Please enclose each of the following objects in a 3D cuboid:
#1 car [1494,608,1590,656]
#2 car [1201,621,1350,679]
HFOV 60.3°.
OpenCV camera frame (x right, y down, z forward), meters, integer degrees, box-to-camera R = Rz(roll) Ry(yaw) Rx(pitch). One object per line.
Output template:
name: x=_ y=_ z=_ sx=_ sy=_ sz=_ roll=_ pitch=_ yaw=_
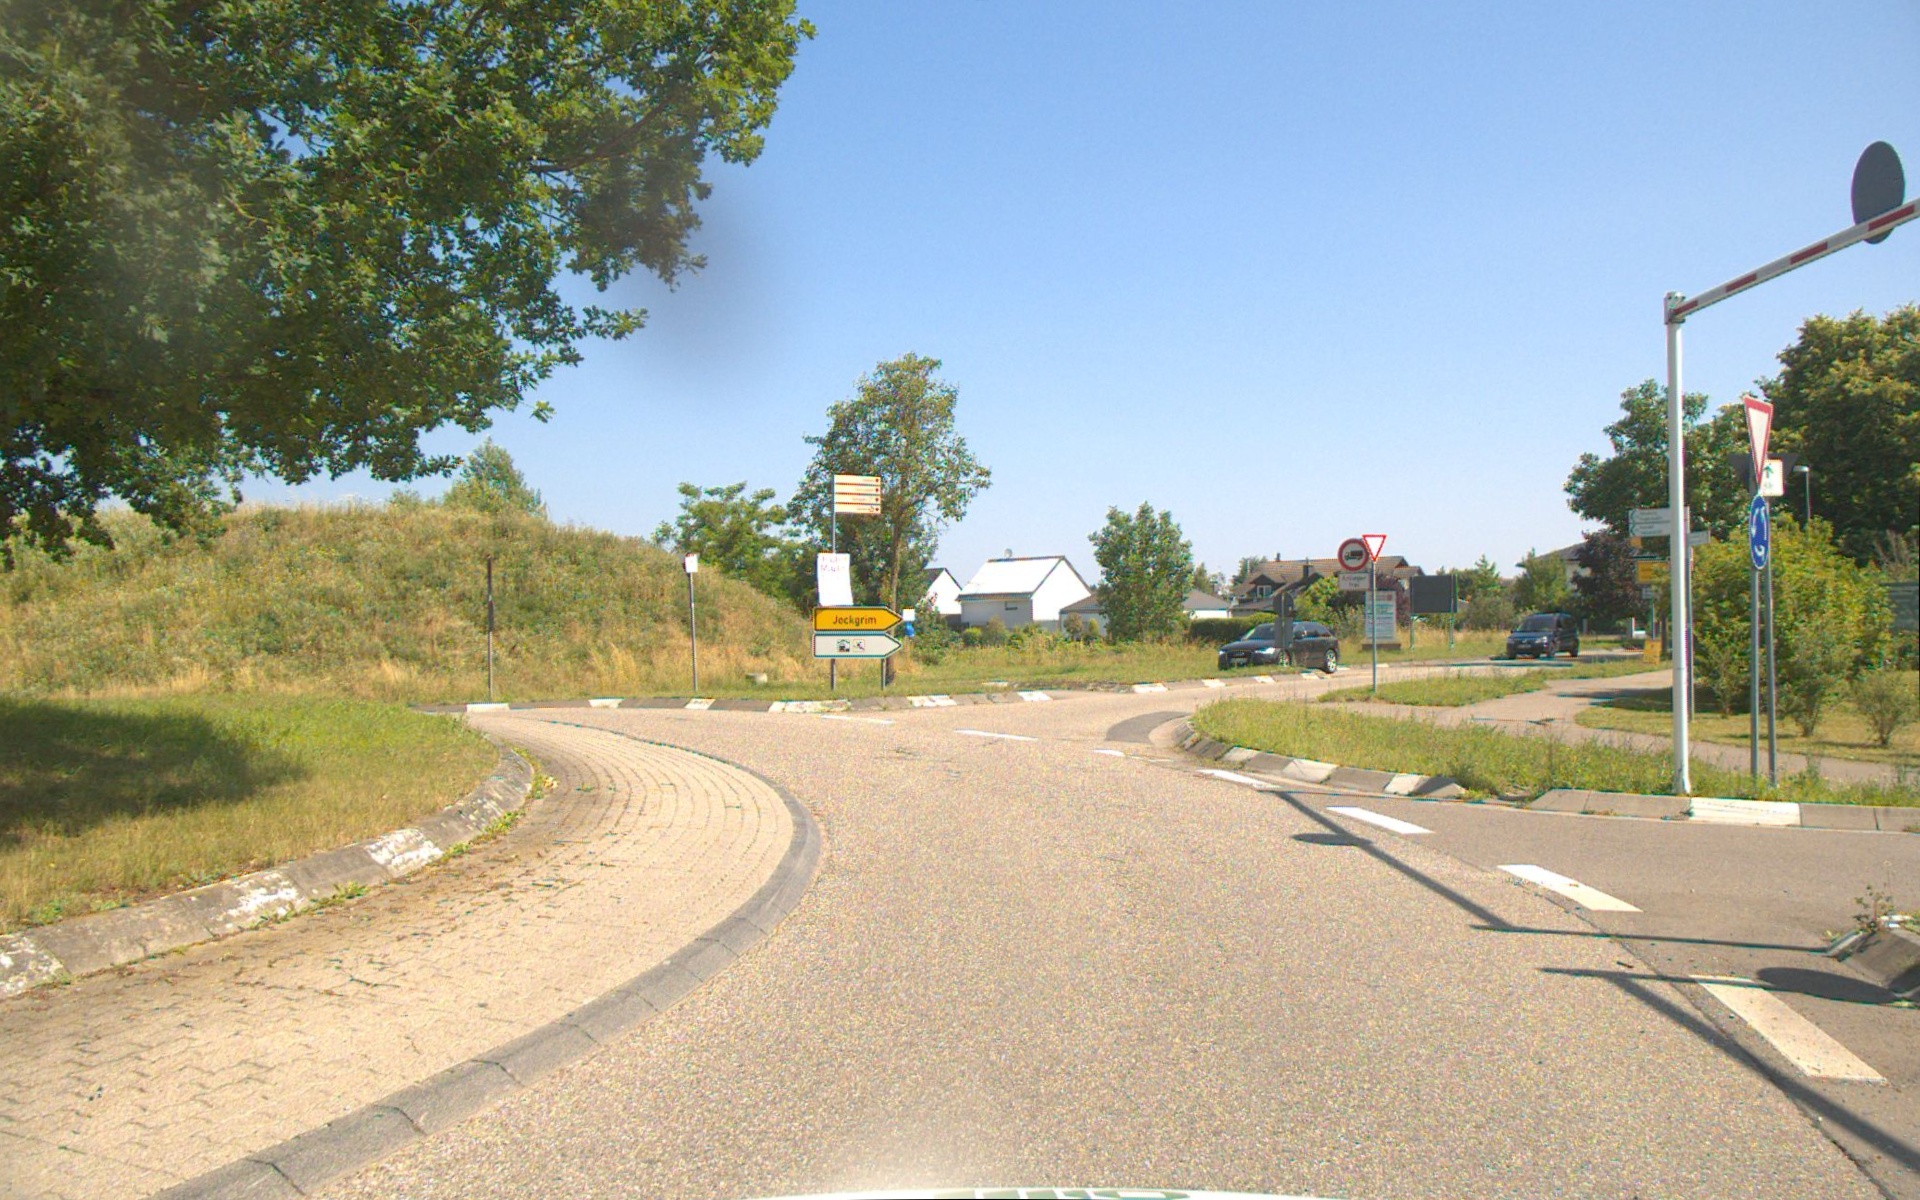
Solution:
car: x=22.255 y=1.216 z=63.188 sx=1.783 sy=1.669 sz=4.628 roll=-6 pitch=-5 yaw=41
car: x=8.811 y=1.369 z=45.942 sx=1.888 sy=1.459 sz=4.886 roll=-5 pitch=-4 yaw=40
